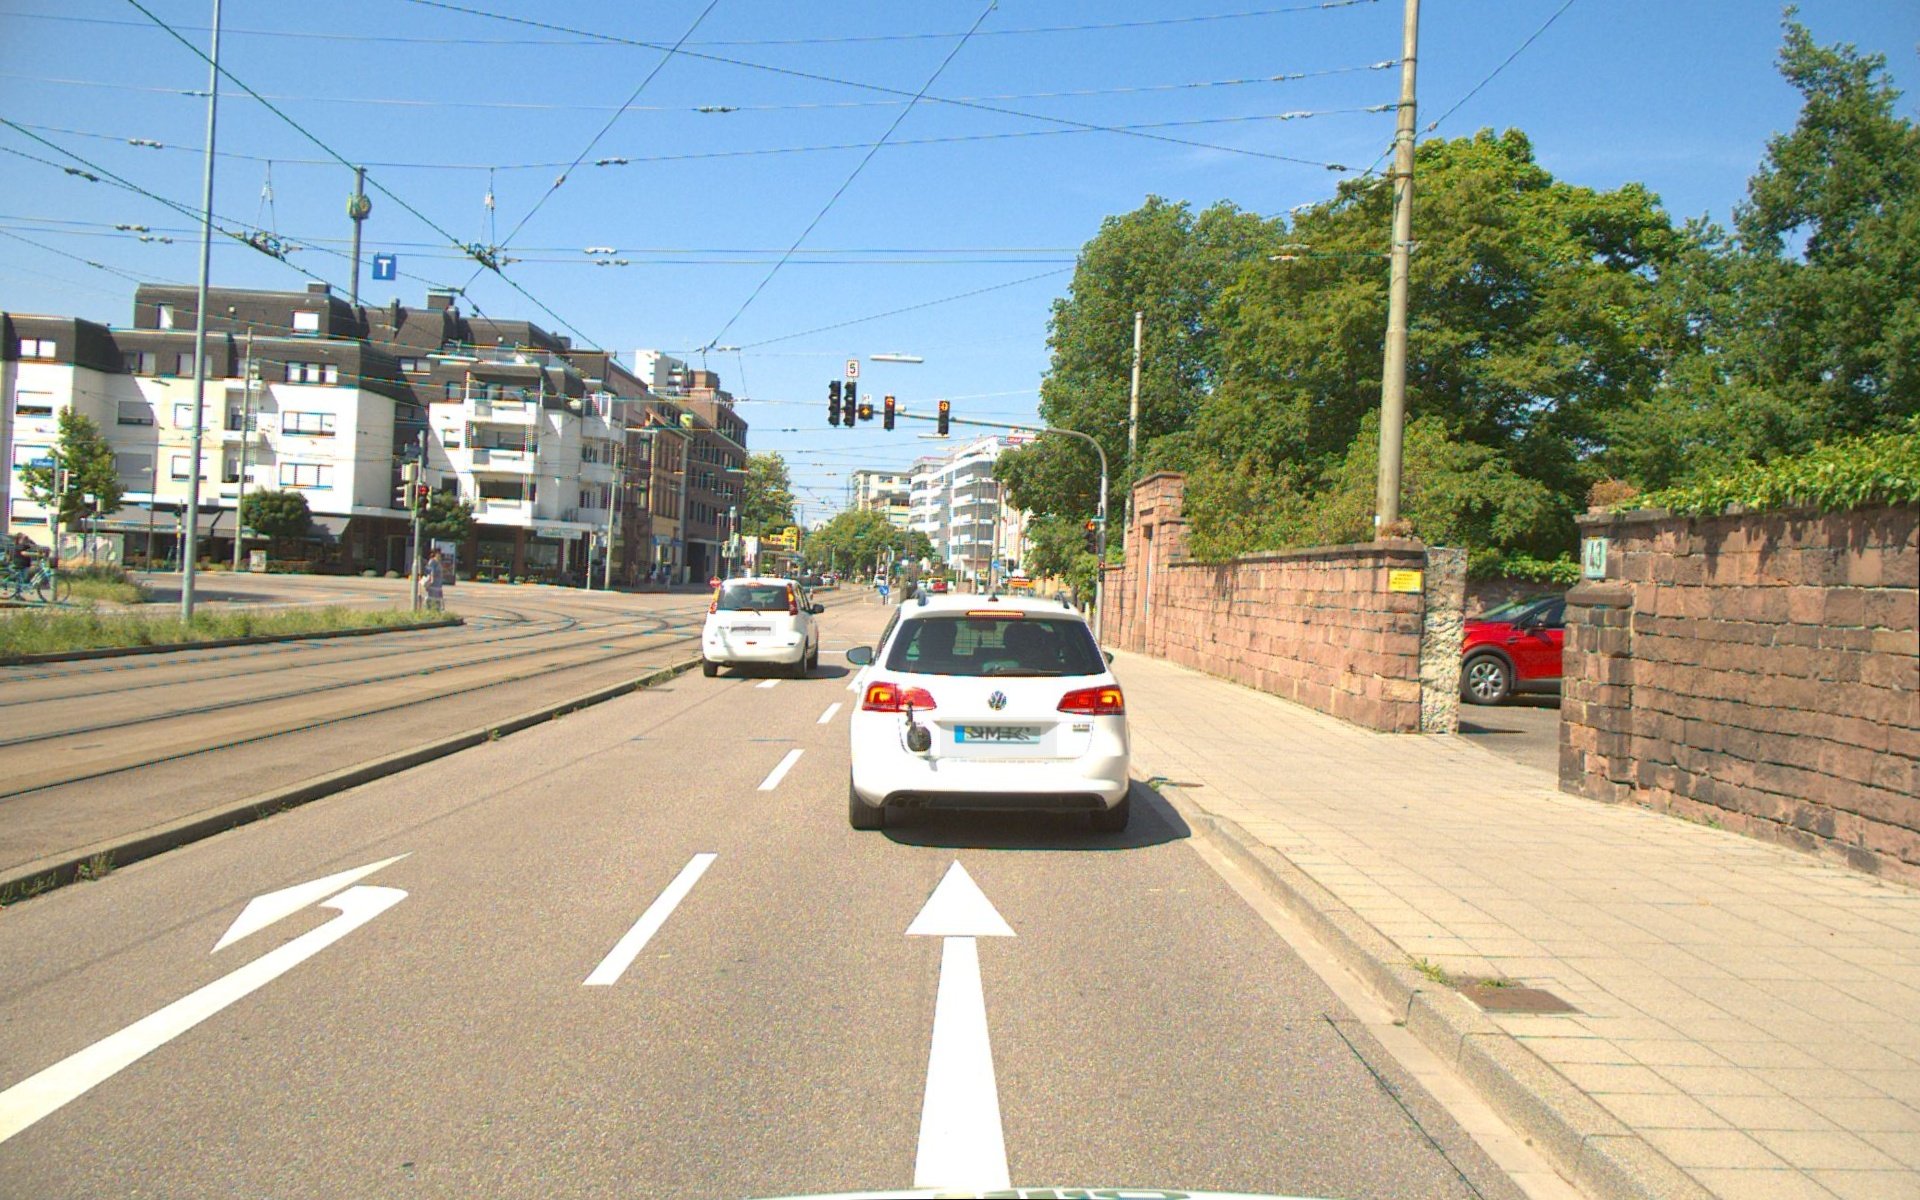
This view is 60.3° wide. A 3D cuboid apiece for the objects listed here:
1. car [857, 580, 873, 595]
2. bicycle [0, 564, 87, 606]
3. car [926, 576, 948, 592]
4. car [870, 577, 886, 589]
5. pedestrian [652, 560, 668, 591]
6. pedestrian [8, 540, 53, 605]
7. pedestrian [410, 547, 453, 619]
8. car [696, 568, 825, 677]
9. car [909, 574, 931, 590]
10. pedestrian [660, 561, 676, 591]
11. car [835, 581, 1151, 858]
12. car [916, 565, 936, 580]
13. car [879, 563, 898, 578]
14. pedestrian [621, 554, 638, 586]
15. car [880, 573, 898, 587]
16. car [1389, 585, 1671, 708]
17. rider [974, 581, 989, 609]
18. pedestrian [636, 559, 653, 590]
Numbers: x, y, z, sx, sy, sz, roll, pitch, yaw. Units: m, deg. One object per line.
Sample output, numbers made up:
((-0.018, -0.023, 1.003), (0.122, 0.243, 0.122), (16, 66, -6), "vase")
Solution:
((-11.078, -1.495, 192.985), (1.664, 1.618, 3.534), (2, 0, -2), "car")
((-22.216, -0.361, 39.707), (2.160, 0.937, 0.545), (2, 0, -43), "bicycle")
((-3.094, -2.129, 219.564), (1.960, 2.048, 3.986), (2, 1, -14), "car")
((-11.420, -2.388, 230.633), (1.668, 1.618, 3.526), (2, 1, -11), "car")
((-20.042, -1.644, 110.359), (0.919, 2.049, 0.989), (2, 0, -8), "pedestrian")
((-22.507, -0.664, 40.050), (0.809, 1.513, 0.557), (2, 0, -43), "pedestrian")
((-13.351, -0.423, 41.811), (0.811, 1.769, 0.930), (2, 0, -9), "pedestrian")
((-3.262, 0.320, 27.657), (1.695, 1.624, 4.010), (2, 1, -1), "car")
((-5.177, -2.289, 214.474), (1.960, 1.937, 3.986), (2, 1, -14), "car")
((-20.454, -1.709, 115.884), (0.918, 2.049, 0.989), (2, 0, -6), "pedestrian")
((0.189, 0.647, 11.167), (1.742, 1.516, 3.847), (1, 1, 0), "car")
((-4.798, -3.940, 233.716), (1.960, 2.048, 3.986), (2, 1, -14), "car")
((-11.041, -4.580, 255.207), (1.962, 2.048, 3.983), (5, 0, -16), "car")
((-21.907, -1.988, 109.666), (0.918, 2.049, 0.990), (2, 0, -5), "pedestrian")
((-11.220, -3.203, 259.795), (1.960, 2.048, 3.986), (2, 1, -14), "car")
((7.867, 0.625, 23.006), (3.338, 1.489, 1.524), (3, 0, -1), "car")
((1.392, -0.361, 107.480), (0.873, 1.758, 2.203), (2, 0, 0), "rider")
((-20.997, -1.703, 110.019), (0.918, 2.049, 0.989), (2, 0, -6), "pedestrian")
